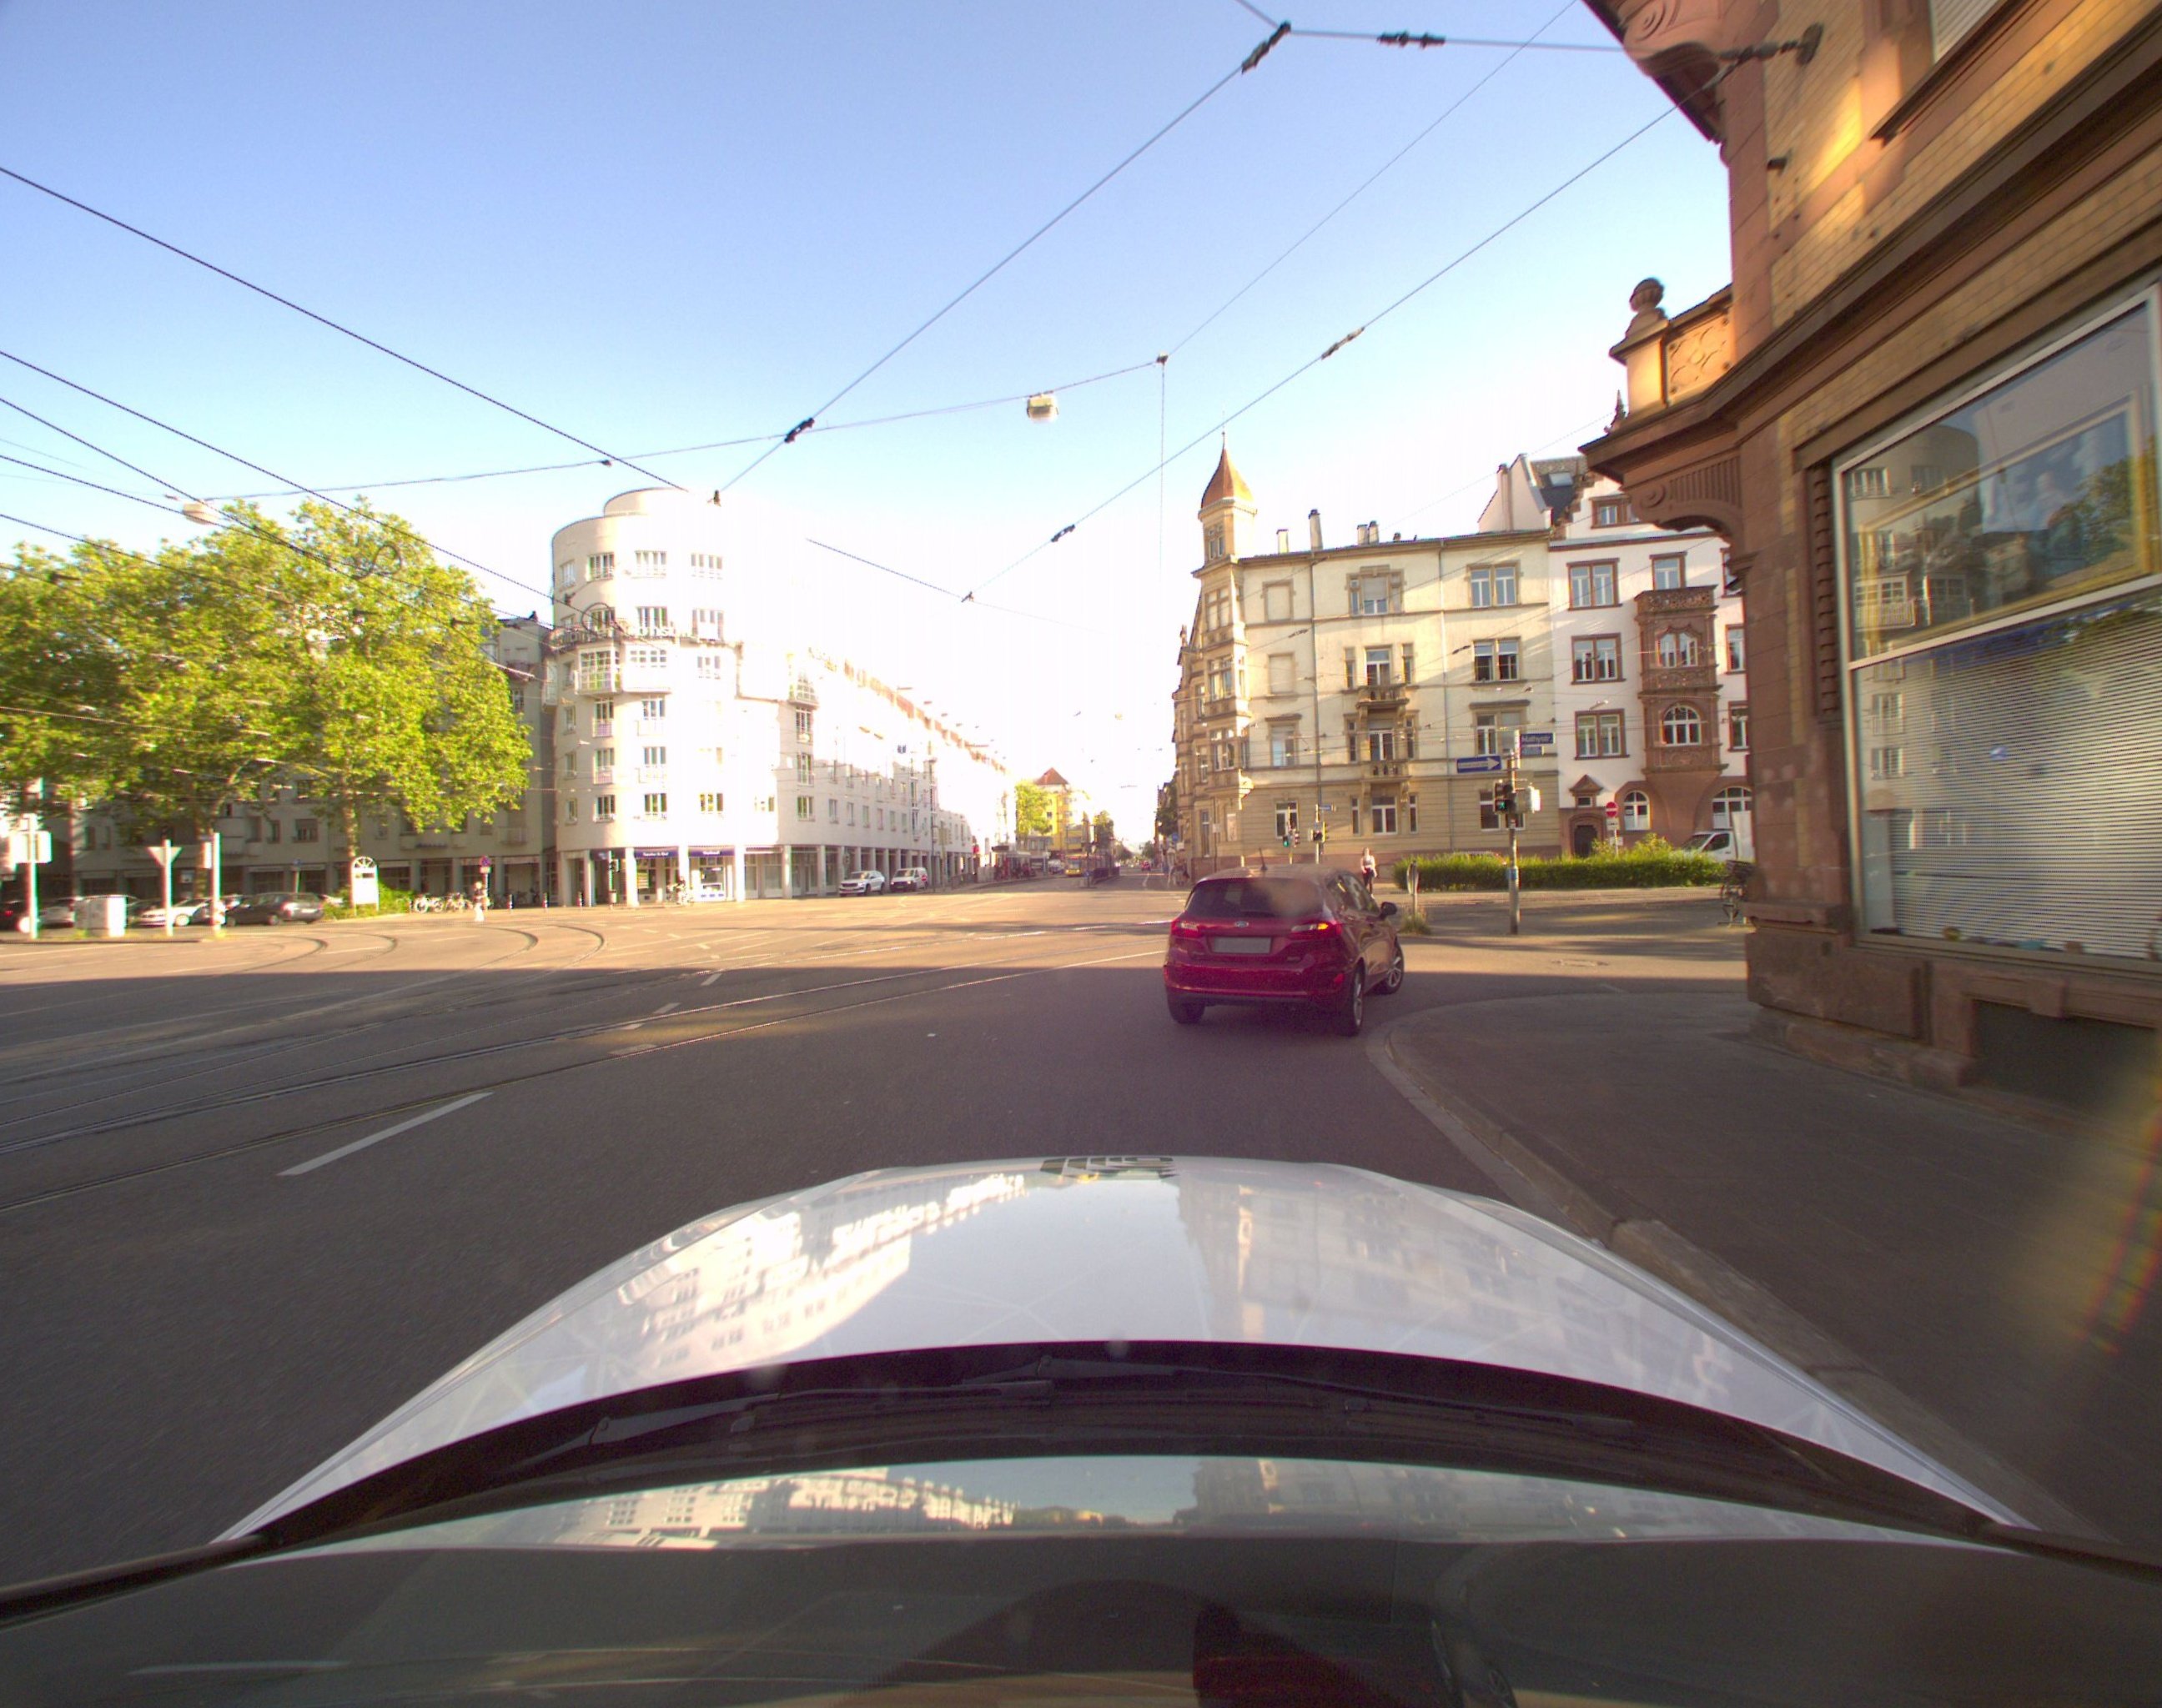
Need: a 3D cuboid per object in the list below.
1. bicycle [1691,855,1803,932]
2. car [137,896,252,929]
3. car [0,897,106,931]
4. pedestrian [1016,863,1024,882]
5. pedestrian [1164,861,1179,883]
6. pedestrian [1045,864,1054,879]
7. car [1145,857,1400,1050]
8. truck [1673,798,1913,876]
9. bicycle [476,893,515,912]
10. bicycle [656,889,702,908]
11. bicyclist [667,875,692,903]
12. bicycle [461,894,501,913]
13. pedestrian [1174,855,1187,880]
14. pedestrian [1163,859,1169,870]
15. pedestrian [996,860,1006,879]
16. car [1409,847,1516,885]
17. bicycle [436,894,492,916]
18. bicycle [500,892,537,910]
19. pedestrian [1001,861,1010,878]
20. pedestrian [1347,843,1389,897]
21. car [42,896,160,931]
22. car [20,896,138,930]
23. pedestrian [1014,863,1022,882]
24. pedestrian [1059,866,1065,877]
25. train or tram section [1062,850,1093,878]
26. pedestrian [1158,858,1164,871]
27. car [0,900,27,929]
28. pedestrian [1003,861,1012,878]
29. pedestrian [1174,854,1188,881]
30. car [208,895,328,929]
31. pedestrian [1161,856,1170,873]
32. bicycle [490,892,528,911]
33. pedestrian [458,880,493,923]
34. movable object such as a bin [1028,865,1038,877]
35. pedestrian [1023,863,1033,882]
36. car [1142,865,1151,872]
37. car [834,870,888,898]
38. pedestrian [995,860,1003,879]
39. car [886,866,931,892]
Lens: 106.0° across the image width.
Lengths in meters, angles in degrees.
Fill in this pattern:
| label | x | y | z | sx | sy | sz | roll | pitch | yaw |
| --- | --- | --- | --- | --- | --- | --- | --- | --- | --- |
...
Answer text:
| label | x | y | z | sx | sy | sz | roll | pitch | yaw |
| --- | --- | --- | --- | --- | --- | --- | --- | --- | --- |
| bicycle | 12.311 | 0.691 | 15.136 | 0.749 | 1.263 | 1.840 | -2 | 1 | 9 |
| car | -48.657 | 3.181 | 44.812 | 1.787 | 1.510 | 4.003 | -2 | -1 | 3 |
| car | -60.686 | 3.512 | 47.884 | 1.787 | 1.715 | 4.003 | -2 | -1 | 3 |
| pedestrian | -6.376 | 1.927 | 85.123 | 0.693 | 1.905 | 0.672 | -2 | -1 | 2 |
| pedestrian | 5.816 | 1.155 | 52.329 | 0.791 | 1.331 | 0.720 | -3 | -2 | 3 |
| pedestrian | -4.117 | 2.334 | 106.181 | 0.879 | 1.905 | 0.931 | -1 | -1 | -12 |
| car | 2.141 | 0.789 | 8.319 | 1.676 | 1.495 | 3.601 | -1 | -1 | 28 |
| truck | 31.442 | -0.690 | 36.249 | 8.012 | 3.080 | 2.336 | -2 | -1 | 8 |
| bicycle | -36.550 | 3.037 | 50.813 | 1.930 | 1.107 | 0.821 | -2 | -1 | 9 |
| bicycle | -22.404 | 2.483 | 45.414 | 0.833 | 0.927 | 2.277 | -2 | -1 | 24 |
| bicyclist | -22.415 | 1.949 | 45.437 | 0.833 | 1.467 | 0.901 | -2 | -1 | 24 |
| bicycle | -36.715 | 3.036 | 49.834 | 1.930 | 1.107 | 0.821 | -2 | -1 | 9 |
| pedestrian | 7.363 | 1.001 | 60.251 | 0.797 | 1.824 | 0.798 | -4 | 0 | 4 |
| pedestrian | 12.090 | 1.510 | 115.906 | 0.710 | 1.602 | 0.773 | -5 | 0 | 1 |
| pedestrian | -7.482 | 1.470 | 76.528 | 0.523 | 1.733 | 0.756 | 0 | -2 | -44 |
| car | 17.906 | 0.556 | 38.440 | 4.229 | 1.632 | 1.951 | -2 | -1 | 12 |
| bicycle | -36.465 | 3.006 | 48.160 | 2.436 | 1.107 | 0.935 | -2 | -1 | -10 |
| bicycle | -36.546 | 3.049 | 52.920 | 1.931 | 1.107 | 0.820 | -2 | -1 | 7 |
| pedestrian | -7.350 | 1.515 | 78.870 | 0.698 | 1.691 | 0.668 | -1 | -1 | -19 |
| pedestrian | 9.889 | 0.551 | 28.082 | 1.019 | 1.807 | 1.083 | -2 | -1 | 1 |
| car | -55.796 | 3.328 | 46.472 | 1.787 | 1.715 | 4.003 | -2 | -1 | 3 |
| car | -57.906 | 3.376 | 47.174 | 1.787 | 1.715 | 4.003 | -2 | -1 | 3 |
| pedestrian | -6.586 | 1.918 | 84.577 | 0.693 | 1.905 | 0.672 | -2 | -1 | 2 |
| pedestrian | -3.190 | 2.919 | 135.901 | 0.879 | 1.905 | 0.931 | -1 | -1 | -12 |
| train or tram section | -0.373 | 1.404 | 113.274 | 2.872 | 3.490 | 14.184 | -3 | -1 | 5 |
| pedestrian | 11.355 | 1.516 | 116.042 | 0.710 | 1.774 | 0.773 | -5 | 0 | 1 |
| car | -66.966 | 3.731 | 48.980 | 1.787 | 1.715 | 4.003 | -2 | -1 | 3 |
| pedestrian | -7.245 | 1.546 | 80.465 | 0.698 | 1.691 | 0.668 | -1 | -1 | -19 |
| pedestrian | 6.474 | 0.891 | 52.775 | 0.791 | 1.721 | 0.720 | -3 | -2 | 2 |
| car | -40.300 | 2.856 | 40.421 | 4.416 | 1.421 | 1.895 | -3 | 0 | 8 |
| pedestrian | 8.522 | 1.044 | 81.821 | 0.759 | 1.645 | 0.833 | -4 | 0 | 4 |
| bicycle | -36.550 | 3.044 | 52.049 | 1.931 | 1.107 | 0.820 | -2 | -1 | 7 |
| pedestrian | -25.104 | 1.951 | 33.759 | 0.862 | 1.682 | 0.699 | -3 | 1 | 13 |
| movable object such as a bin | -5.456 | 1.960 | 92.912 | 0.933 | 1.287 | 0.935 | -2 | -1 | 2 |
| pedestrian | -5.640 | 1.954 | 86.633 | 0.928 | 1.905 | 0.881 | -2 | -1 | 2 |
| car | 14.802 | 3.274 | 184.005 | 1.984 | 1.449 | 4.005 | -1 | -1 | 4 |
| car | -14.490 | 1.959 | 53.913 | 1.985 | 1.620 | 4.515 | -2 | -1 | 4 |
| pedestrian | -7.489 | 1.428 | 74.439 | 0.596 | 1.692 | 0.614 | -2 | -1 | 4 |
| car | -13.606 | 1.928 | 64.604 | 1.984 | 1.837 | 5.352 | -2 | -1 | 4 |
